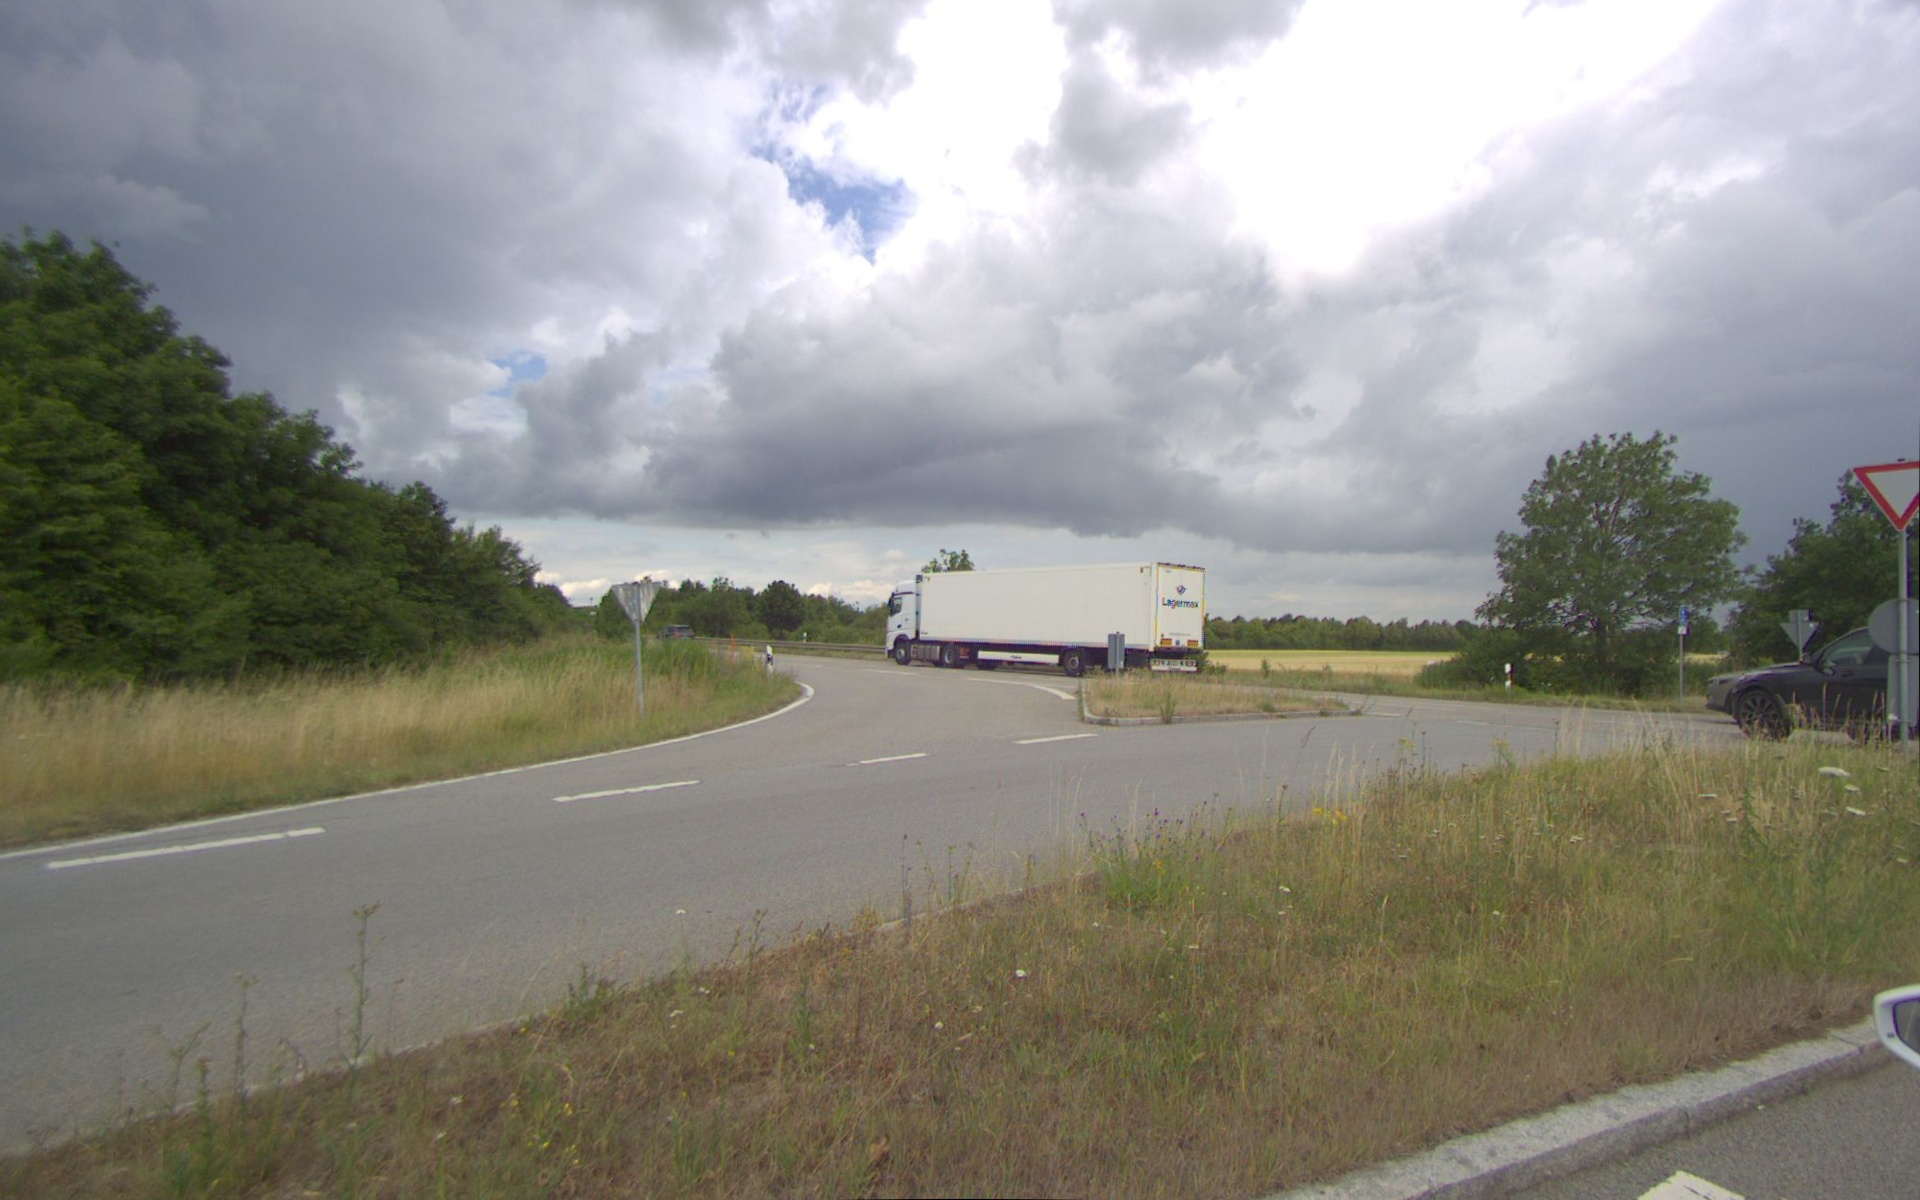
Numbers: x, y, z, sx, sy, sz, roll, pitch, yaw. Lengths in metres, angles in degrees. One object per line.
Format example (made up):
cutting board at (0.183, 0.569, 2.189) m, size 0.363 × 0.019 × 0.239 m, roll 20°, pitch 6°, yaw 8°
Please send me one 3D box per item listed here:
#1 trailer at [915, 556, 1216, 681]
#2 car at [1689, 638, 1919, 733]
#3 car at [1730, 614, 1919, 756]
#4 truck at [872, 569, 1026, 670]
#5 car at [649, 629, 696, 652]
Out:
trailer at (3.455, 0.786, 39.237) m, size 3.100 × 4.066 × 13.741 m, roll 4°, pitch -3°, yaw -37°
car at (17.300, 1.636, 19.787) m, size 1.984 × 1.704 × 4.428 m, roll 4°, pitch -4°, yaw -39°
car at (13.094, 1.126, 13.484) m, size 1.960 × 1.798 × 4.645 m, roll 1°, pitch -2°, yaw 0°
truck at (-0.616, 0.911, 44.687) m, size 3.101 × 4.066 × 7.231 m, roll 4°, pitch -3°, yaw -37°
car at (-20.304, 2.871, 70.819) m, size 1.980 × 1.622 × 4.184 m, roll 1°, pitch -3°, yaw -35°
